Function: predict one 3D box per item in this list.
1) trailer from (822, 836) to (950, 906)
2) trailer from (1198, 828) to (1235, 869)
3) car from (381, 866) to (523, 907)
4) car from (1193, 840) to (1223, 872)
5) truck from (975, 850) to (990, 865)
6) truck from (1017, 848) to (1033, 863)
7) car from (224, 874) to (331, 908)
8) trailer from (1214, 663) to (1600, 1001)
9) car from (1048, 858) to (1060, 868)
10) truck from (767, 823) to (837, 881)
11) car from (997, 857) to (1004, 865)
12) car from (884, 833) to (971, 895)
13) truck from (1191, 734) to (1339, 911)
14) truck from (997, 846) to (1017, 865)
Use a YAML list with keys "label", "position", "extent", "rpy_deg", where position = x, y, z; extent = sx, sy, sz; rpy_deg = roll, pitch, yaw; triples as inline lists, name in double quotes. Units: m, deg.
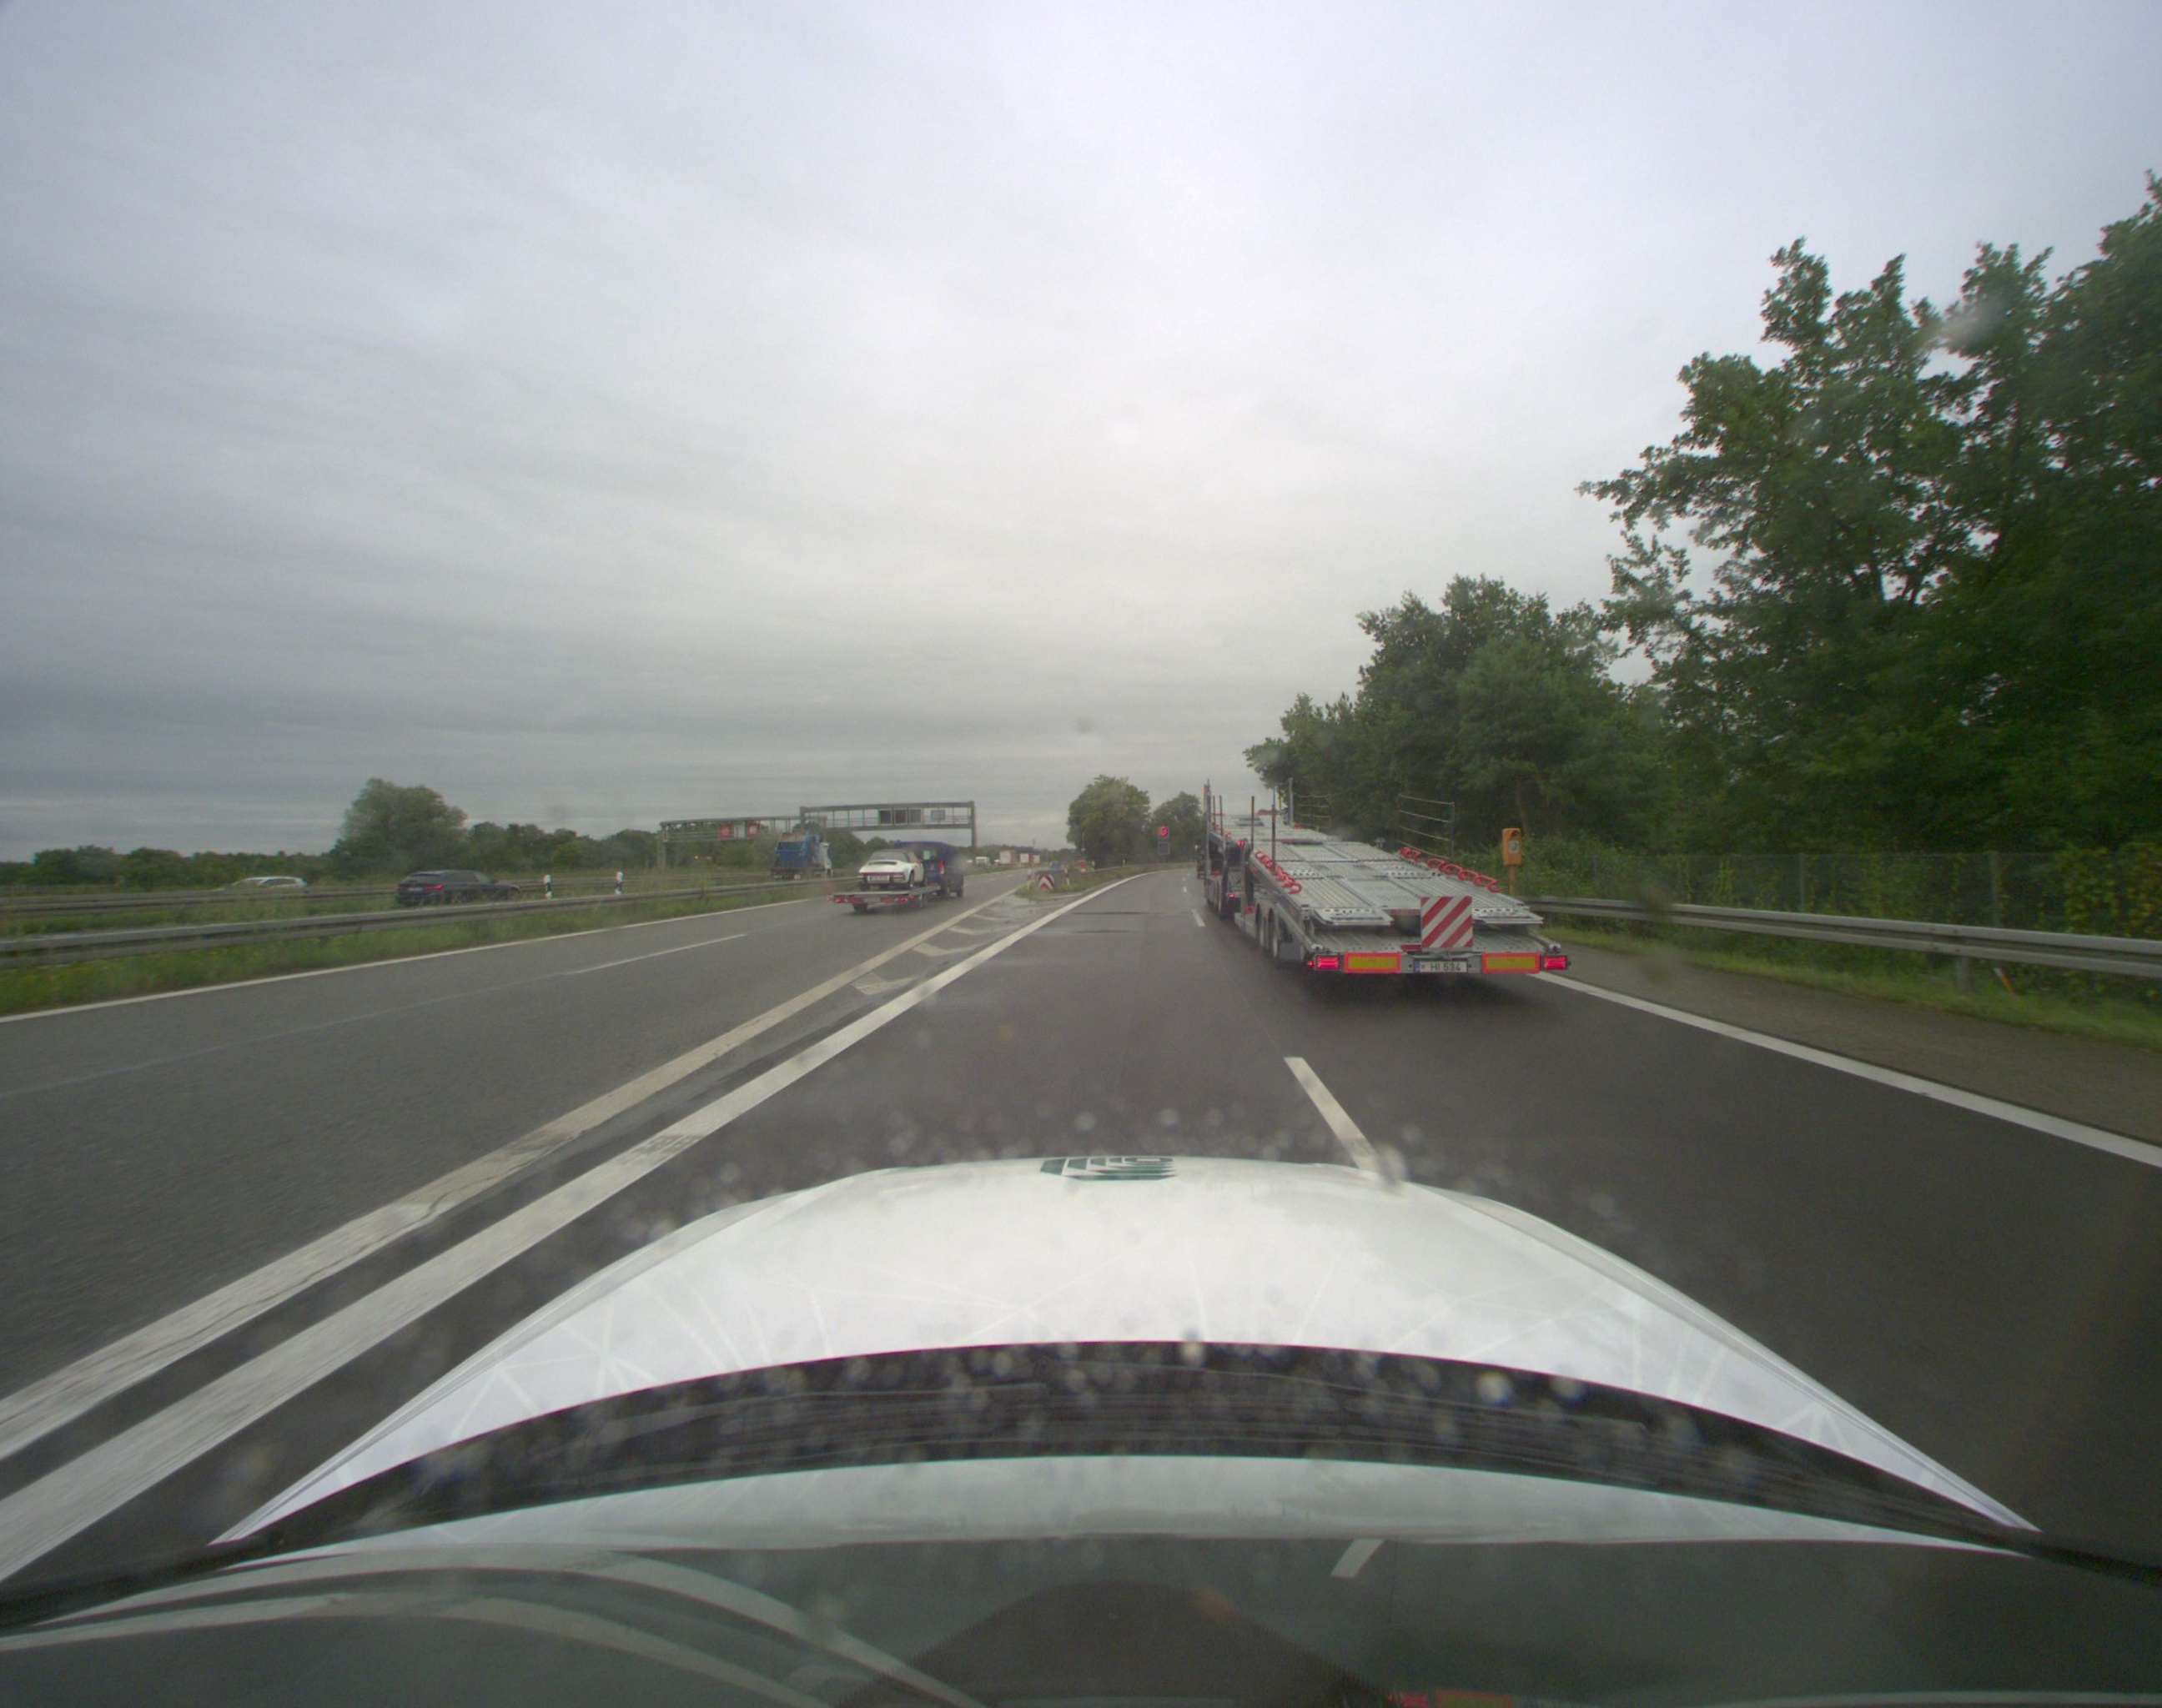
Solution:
- label: "trailer"
  position: [-6.090, 0.492, 26.617]
  extent: [2.477, 1.994, 7.061]
  rpy_deg: [0, 0, 0]
- label: "trailer"
  position: [14.300, -0.582, 85.950]
  extent: [3.428, 3.999, 12.058]
  rpy_deg: [2, 1, 9]
- label: "car"
  position: [-23.831, 1.179, 31.128]
  extent: [1.798, 1.391, 4.772]
  rpy_deg: [0, -1, -1]
- label: "car"
  position: [9.744, 0.154, 62.099]
  extent: [2.097, 2.264, 5.913]
  rpy_deg: [-1, 0, 10]
- label: "truck"
  position: [-18.521, 0.701, 153.247]
  extent: [2.236, 2.704, 5.278]
  rpy_deg: [0, 0, 0]
- label: "truck"
  position: [-16.827, 0.370, 245.468]
  extent: [3.721, 4.417, 11.895]
  rpy_deg: [0, 0, 0]
- label: "car"
  position: [-44.142, 1.999, 44.868]
  extent: [1.844, 1.728, 4.002]
  rpy_deg: [0, -1, 2]
- label: "trailer"
  position: [4.032, -0.212, 13.191]
  extent: [2.765, 3.285, 10.418]
  rpy_deg: [0, 0, 4]
- label: "car"
  position: [-4.722, 1.603, 144.329]
  extent: [1.955, 1.637, 5.624]
  rpy_deg: [0, -1, 0]
- label: "truck"
  position: [-19.698, -0.093, 58.054]
  extent: [2.631, 3.812, 7.338]
  rpy_deg: [0, -1, -2]
- label: "car"
  position: [-21.954, 1.972, 222.139]
  extent: [1.724, 2.014, 3.999]
  rpy_deg: [0, -1, 0]
- label: "car"
  position: [-6.119, 0.385, 33.259]
  extent: [2.365, 2.266, 6.255]
  rpy_deg: [0, 0, 0]
- label: "truck"
  position: [4.763, -0.729, 22.964]
  extent: [2.726, 3.967, 9.139]
  rpy_deg: [1, 0, 4]
- label: "truck"
  position: [-17.854, 0.315, 197.005]
  extent: [3.721, 4.417, 10.194]
  rpy_deg: [0, 0, 0]
